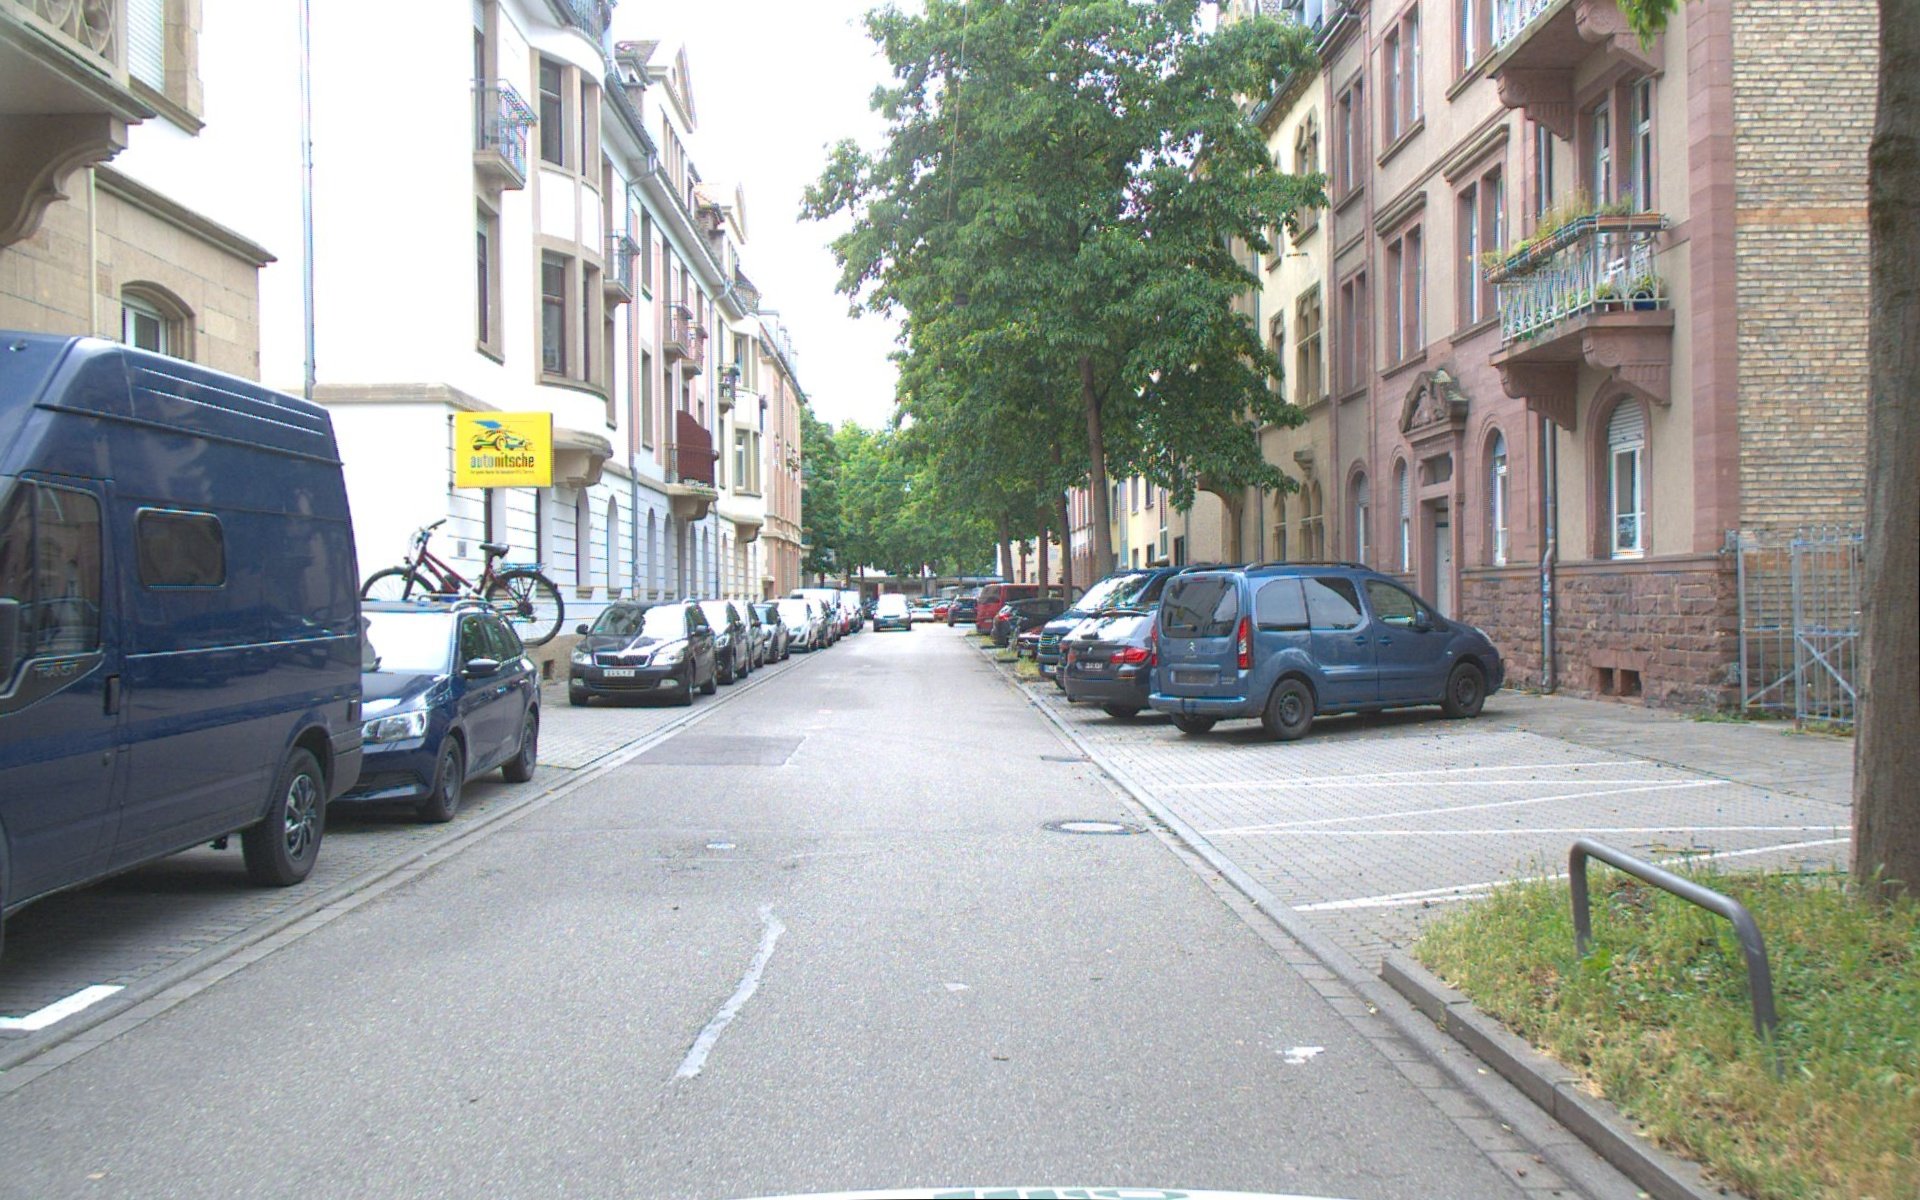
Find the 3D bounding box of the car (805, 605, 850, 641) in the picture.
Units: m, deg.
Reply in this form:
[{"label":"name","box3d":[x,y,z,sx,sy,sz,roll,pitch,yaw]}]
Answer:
[{"label":"car","box3d":[-6.099,1.027,76.311,1.750,1.480,3.887,-4,0,-1]}]

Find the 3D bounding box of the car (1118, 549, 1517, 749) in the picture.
[{"label":"car","box3d":[4.061,0.497,18.678,4.131,1.902,1.979,-3,-1,-31]}]

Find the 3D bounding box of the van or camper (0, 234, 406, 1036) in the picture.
[{"label":"van or camper","box3d":[-4.237,0.101,7.033,1.967,2.698,5.314,2,0,-1]}]

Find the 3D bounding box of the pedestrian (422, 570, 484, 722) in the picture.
[{"label":"pedestrian","box3d":[-6.044,0.539,19.734,0.534,1.770,0.655,1,0,-3]}]

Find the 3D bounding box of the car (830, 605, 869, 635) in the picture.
[{"label":"car","box3d":[-5.429,0.967,81.504,1.749,1.398,3.887,-1,0,-1]}]

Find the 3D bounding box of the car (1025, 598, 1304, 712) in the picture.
[{"label":"car","box3d":[3.048,0.770,24.493,3.821,1.525,1.784,-1,0,-31]}]

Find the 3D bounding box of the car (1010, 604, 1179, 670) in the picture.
[{"label":"car","box3d":[3.079,0.842,38.185,3.639,1.433,1.573,-1,0,-7]}]

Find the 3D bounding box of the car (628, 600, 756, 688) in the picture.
[{"label":"car","box3d":[-4.806,0.759,30.163,1.792,1.451,3.800,2,0,-2]}]

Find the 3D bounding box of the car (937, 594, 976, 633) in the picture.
[{"label":"car","box3d":[-0.210,0.736,91.847,1.953,2.049,3.998,2,0,-2]}]

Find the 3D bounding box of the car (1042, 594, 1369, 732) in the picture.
[{"label":"car","box3d":[3.216,0.754,21.481,3.972,1.587,1.863,-1,0,-33]}]

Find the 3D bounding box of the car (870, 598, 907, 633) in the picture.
[{"label":"car","box3d":[-3.564,0.751,82.393,1.784,1.673,3.752,-1,0,-2]}]

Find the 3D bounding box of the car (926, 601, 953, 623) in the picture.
[{"label":"car","box3d":[-1.465,0.838,118.962,1.832,1.557,3.998,-1,0,-2]}]

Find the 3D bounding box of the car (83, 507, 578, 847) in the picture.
[{"label":"car","box3d":[-4.398,0.470,12.528,1.953,2.049,4.889,-1,0,-1]}]

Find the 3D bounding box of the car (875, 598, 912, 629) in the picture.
[{"label":"car","box3d":[-3.741,0.758,93.829,1.869,1.707,4.000,-1,0,0]}]

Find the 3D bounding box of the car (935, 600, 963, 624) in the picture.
[{"label":"car","box3d":[-0.759,0.825,114.596,1.832,1.557,3.838,-1,0,-2]}]

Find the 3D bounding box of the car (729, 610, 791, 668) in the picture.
[{"label":"car","box3d":[-4.788,0.912,39.886,1.185,1.332,3.259,-1,0,-2]}]

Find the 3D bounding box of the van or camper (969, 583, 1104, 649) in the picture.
[{"label":"van or camper","box3d":[2.563,0.504,55.117,4.102,2.122,1.933,-1,0,-30]}]

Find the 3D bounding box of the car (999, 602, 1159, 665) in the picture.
[{"label":"car","box3d":[2.927,0.807,41.071,3.689,1.490,1.726,-1,0,-7]}]

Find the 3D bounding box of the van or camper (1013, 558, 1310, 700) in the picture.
[{"label":"van or camper","box3d":[3.390,0.437,27.514,4.730,2.175,2.032,-1,0,-33]}]

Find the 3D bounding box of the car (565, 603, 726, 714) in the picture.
[{"label":"car","box3d":[-4.580,0.805,24.588,1.753,1.506,4.020,0,0,-2]}]

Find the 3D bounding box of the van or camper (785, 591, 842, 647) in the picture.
[{"label":"van or camper","box3d":[-5.566,0.689,63.236,1.844,2.002,4.406,-2,0,-1]}]

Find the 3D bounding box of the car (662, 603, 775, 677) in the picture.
[{"label":"car","box3d":[-5.082,0.809,35.259,1.908,1.427,3.998,2,0,-2]}]

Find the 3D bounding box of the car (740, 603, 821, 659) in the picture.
[{"label":"car","box3d":[-5.079,0.856,47.252,1.953,1.501,3.999,-1,0,-1]}]

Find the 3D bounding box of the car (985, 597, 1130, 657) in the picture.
[{"label":"car","box3d":[2.644,0.735,45.374,3.689,1.490,1.726,-2,0,-7]}]

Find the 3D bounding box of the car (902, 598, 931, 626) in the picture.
[{"label":"car","box3d":[-2.978,0.803,112.310,1.953,1.825,3.998,1,-1,-2]}]
